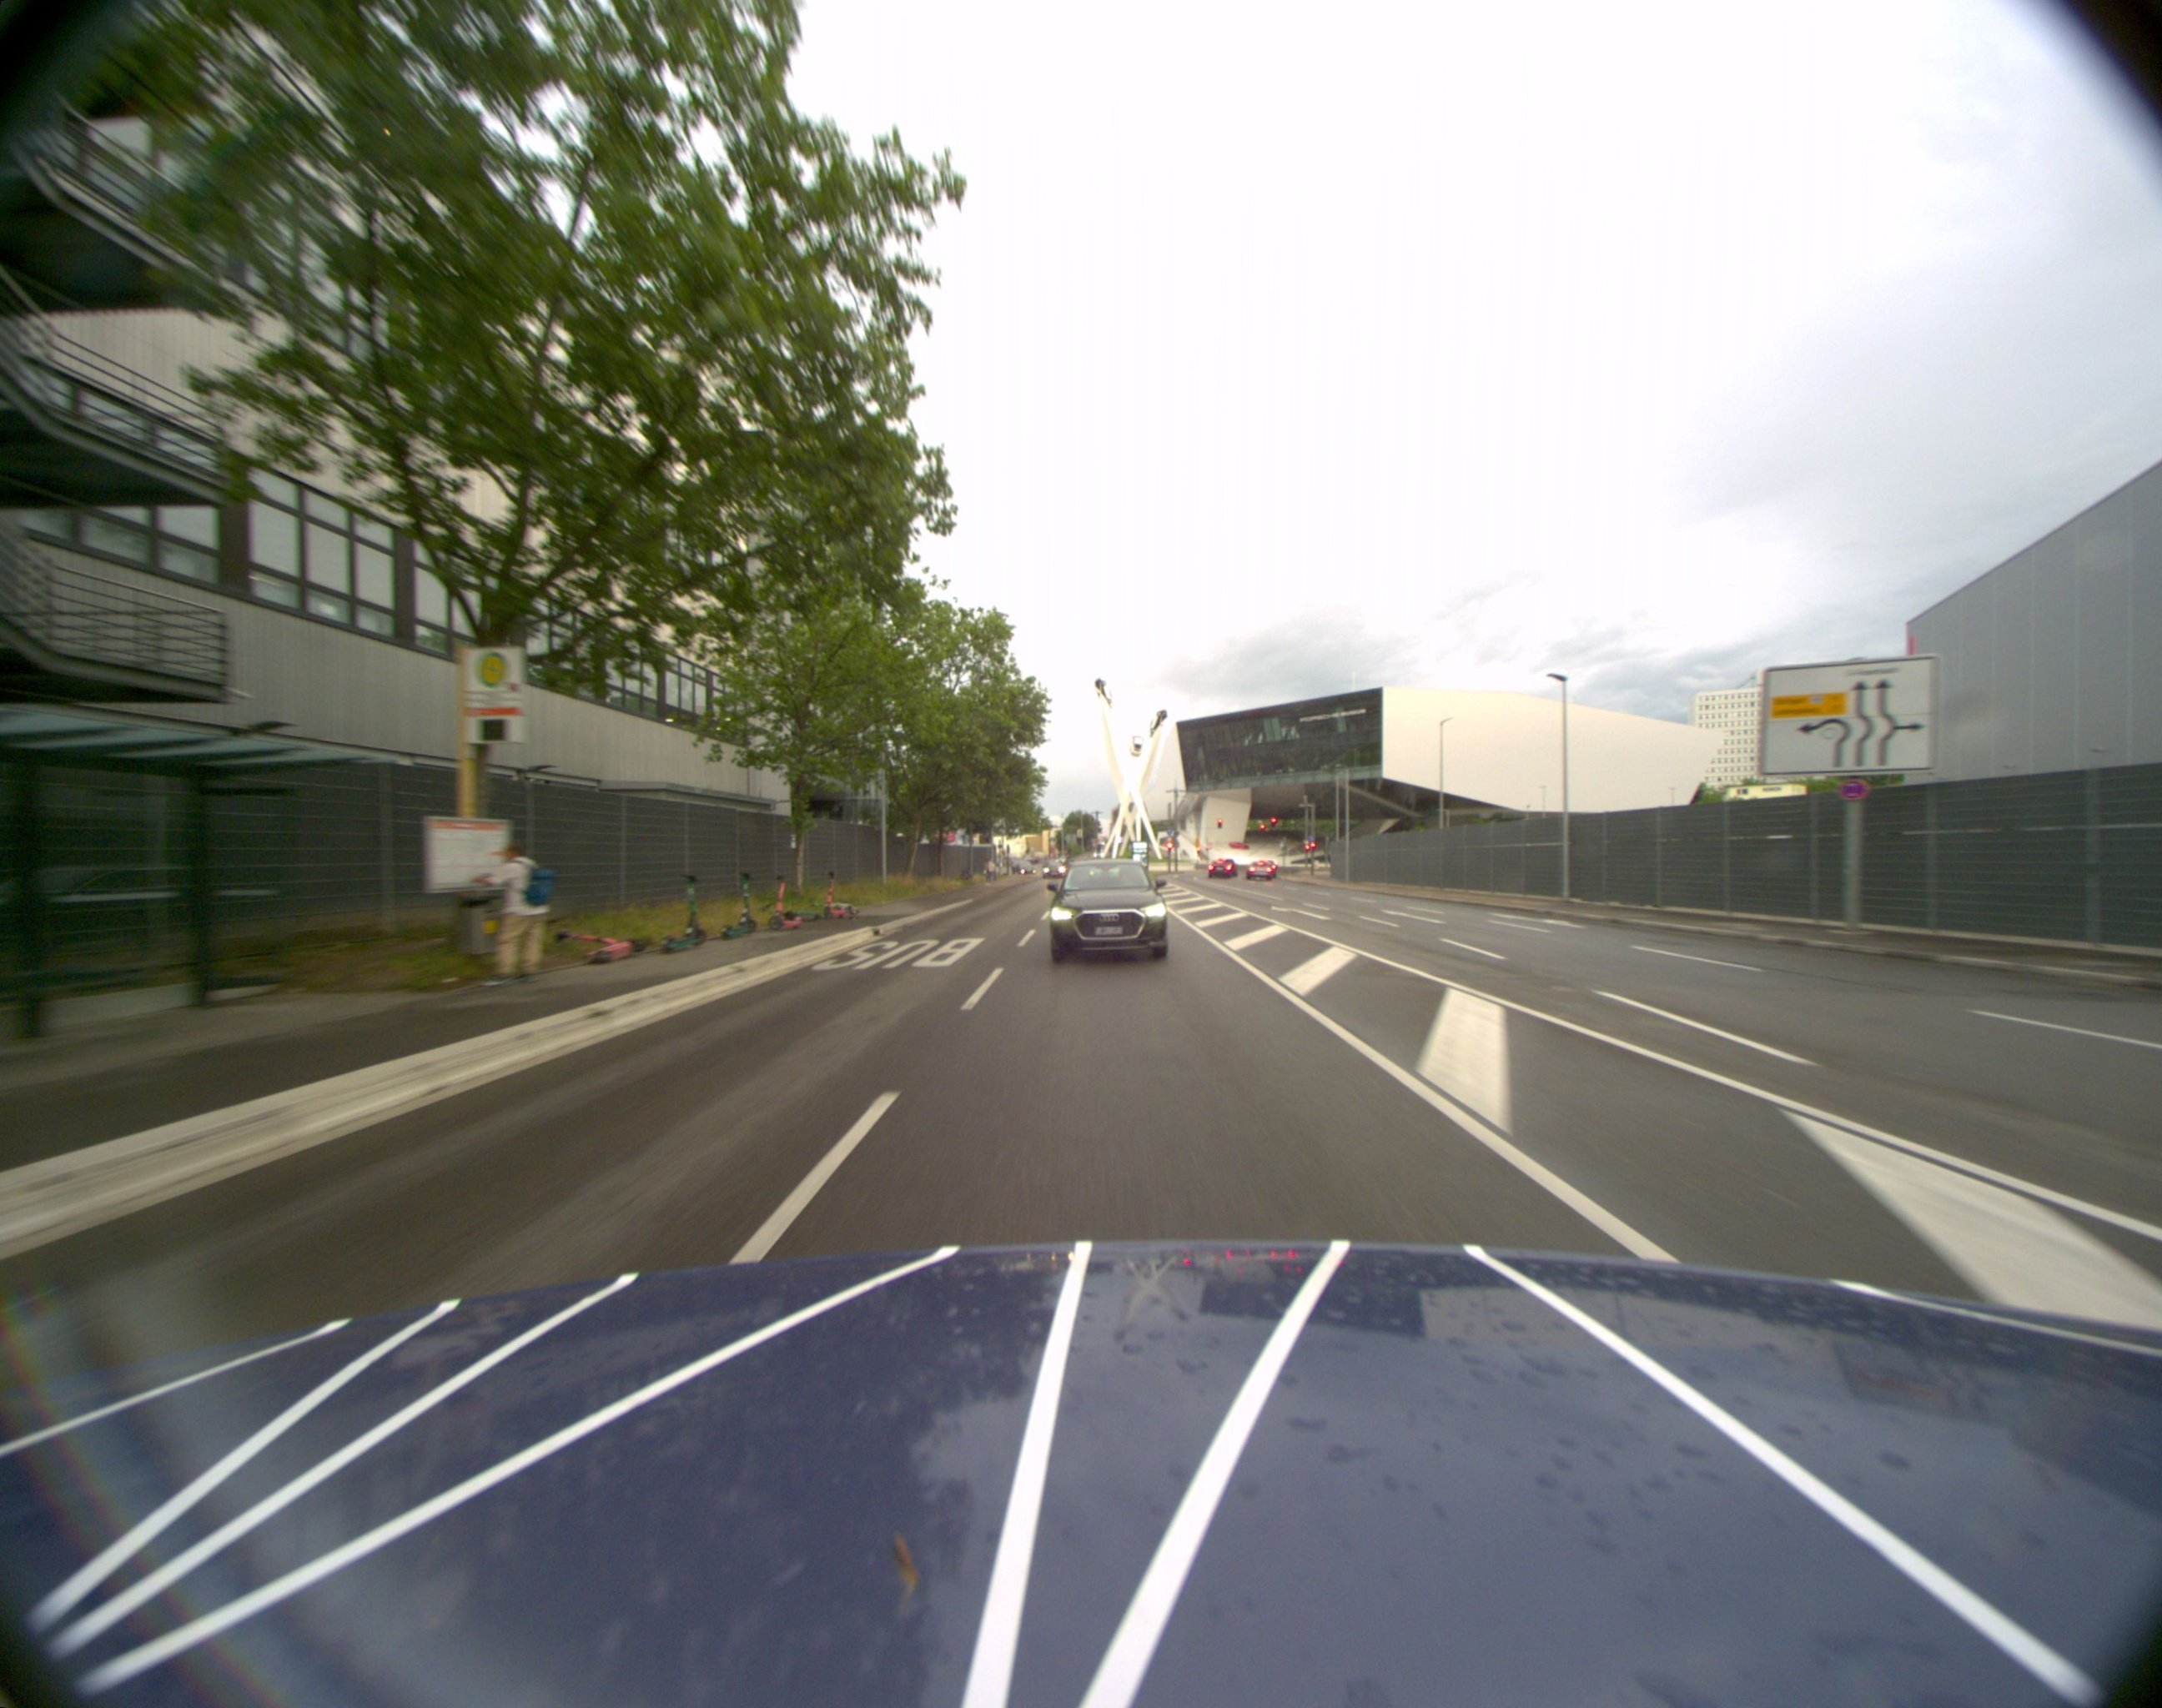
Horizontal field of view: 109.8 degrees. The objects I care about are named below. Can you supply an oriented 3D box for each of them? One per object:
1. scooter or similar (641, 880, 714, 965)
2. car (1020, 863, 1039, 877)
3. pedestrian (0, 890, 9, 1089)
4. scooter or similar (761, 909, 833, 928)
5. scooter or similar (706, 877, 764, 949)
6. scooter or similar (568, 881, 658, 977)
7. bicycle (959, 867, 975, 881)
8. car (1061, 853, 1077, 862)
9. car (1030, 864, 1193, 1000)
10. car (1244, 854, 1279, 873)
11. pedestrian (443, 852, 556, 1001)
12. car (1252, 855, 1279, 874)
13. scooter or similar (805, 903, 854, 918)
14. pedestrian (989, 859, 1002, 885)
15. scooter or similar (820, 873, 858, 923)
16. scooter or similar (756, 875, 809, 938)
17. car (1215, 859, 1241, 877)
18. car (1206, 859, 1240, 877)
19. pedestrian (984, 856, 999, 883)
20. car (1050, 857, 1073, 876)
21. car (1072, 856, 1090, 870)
[{"bbox_3d":[-6.648,1.099,12.587,0.437,1.288,1.301,0,0,4],"label":"scooter or similar"},{"bbox_3d":[-5.635,1.711,82.625,1.882,1.509,3.849,1,-1,-7],"label":"car"},{"bbox_3d":[-8.091,0.956,5.052,0.932,1.407,0.698,0,0,1],"label":"pedestrian"},{"bbox_3d":[-7.062,1.603,18.931,1.098,0.343,1.260,0,0,25],"label":"scooter or similar"},{"bbox_3d":[-6.688,1.115,14.728,0.437,1.288,1.301,0,0,4],"label":"scooter or similar"},{"bbox_3d":[-6.839,1.064,11.172,0.437,1.288,1.301,0,0,4],"label":"scooter or similar"},{"bbox_3d":[-7.369,1.289,49.149,0.727,0.870,1.905,-1,0,0],"label":"bicycle"},{"bbox_3d":[-2.091,0.671,133.519,1.878,1.509,3.856,1,-1,14],"label":"car"},{"bbox_3d":[0.372,0.985,11.911,1.951,1.609,5.277,-1,-1,0],"label":"car"},{"bbox_3d":[14.140,0.722,59.442,2.266,1.468,4.053,0,0,19],"label":"car"},{"bbox_3d":[-6.906,0.833,9.059,0.778,1.700,0.729,0,0,1],"label":"pedestrian"},{"bbox_3d":[16.400,0.898,67.511,1.861,1.641,3.793,0,0,21],"label":"car"},{"bbox_3d":[-7.206,1.611,21.759,1.184,0.309,1.200,0,0,-27],"label":"scooter or similar"},{"bbox_3d":[-5.543,1.186,49.396,0.723,1.657,0.833,2,1,0],"label":"pedestrian"},{"bbox_3d":[-6.494,1.168,20.429,0.437,1.277,1.301,0,0,9],"label":"scooter or similar"},{"bbox_3d":[-6.534,1.127,16.680,0.437,1.288,1.368,0,0,9],"label":"scooter or similar"},{"bbox_3d":[13.419,1.269,69.329,1.878,1.641,3.858,0,0,17],"label":"car"},{"bbox_3d":[11.795,1.138,63.093,2.255,1.468,3.885,0,0,19],"label":"car"},{"bbox_3d":[-5.411,0.921,45.970,0.723,1.610,0.833,2,1,0],"label":"pedestrian"},{"bbox_3d":[-1.684,1.036,64.168,1.881,1.485,4.076,1,-1,-2],"label":"car"},{"bbox_3d":[-0.029,0.966,82.833,1.842,1.444,4.786,-1,-1,0],"label":"car"}]
